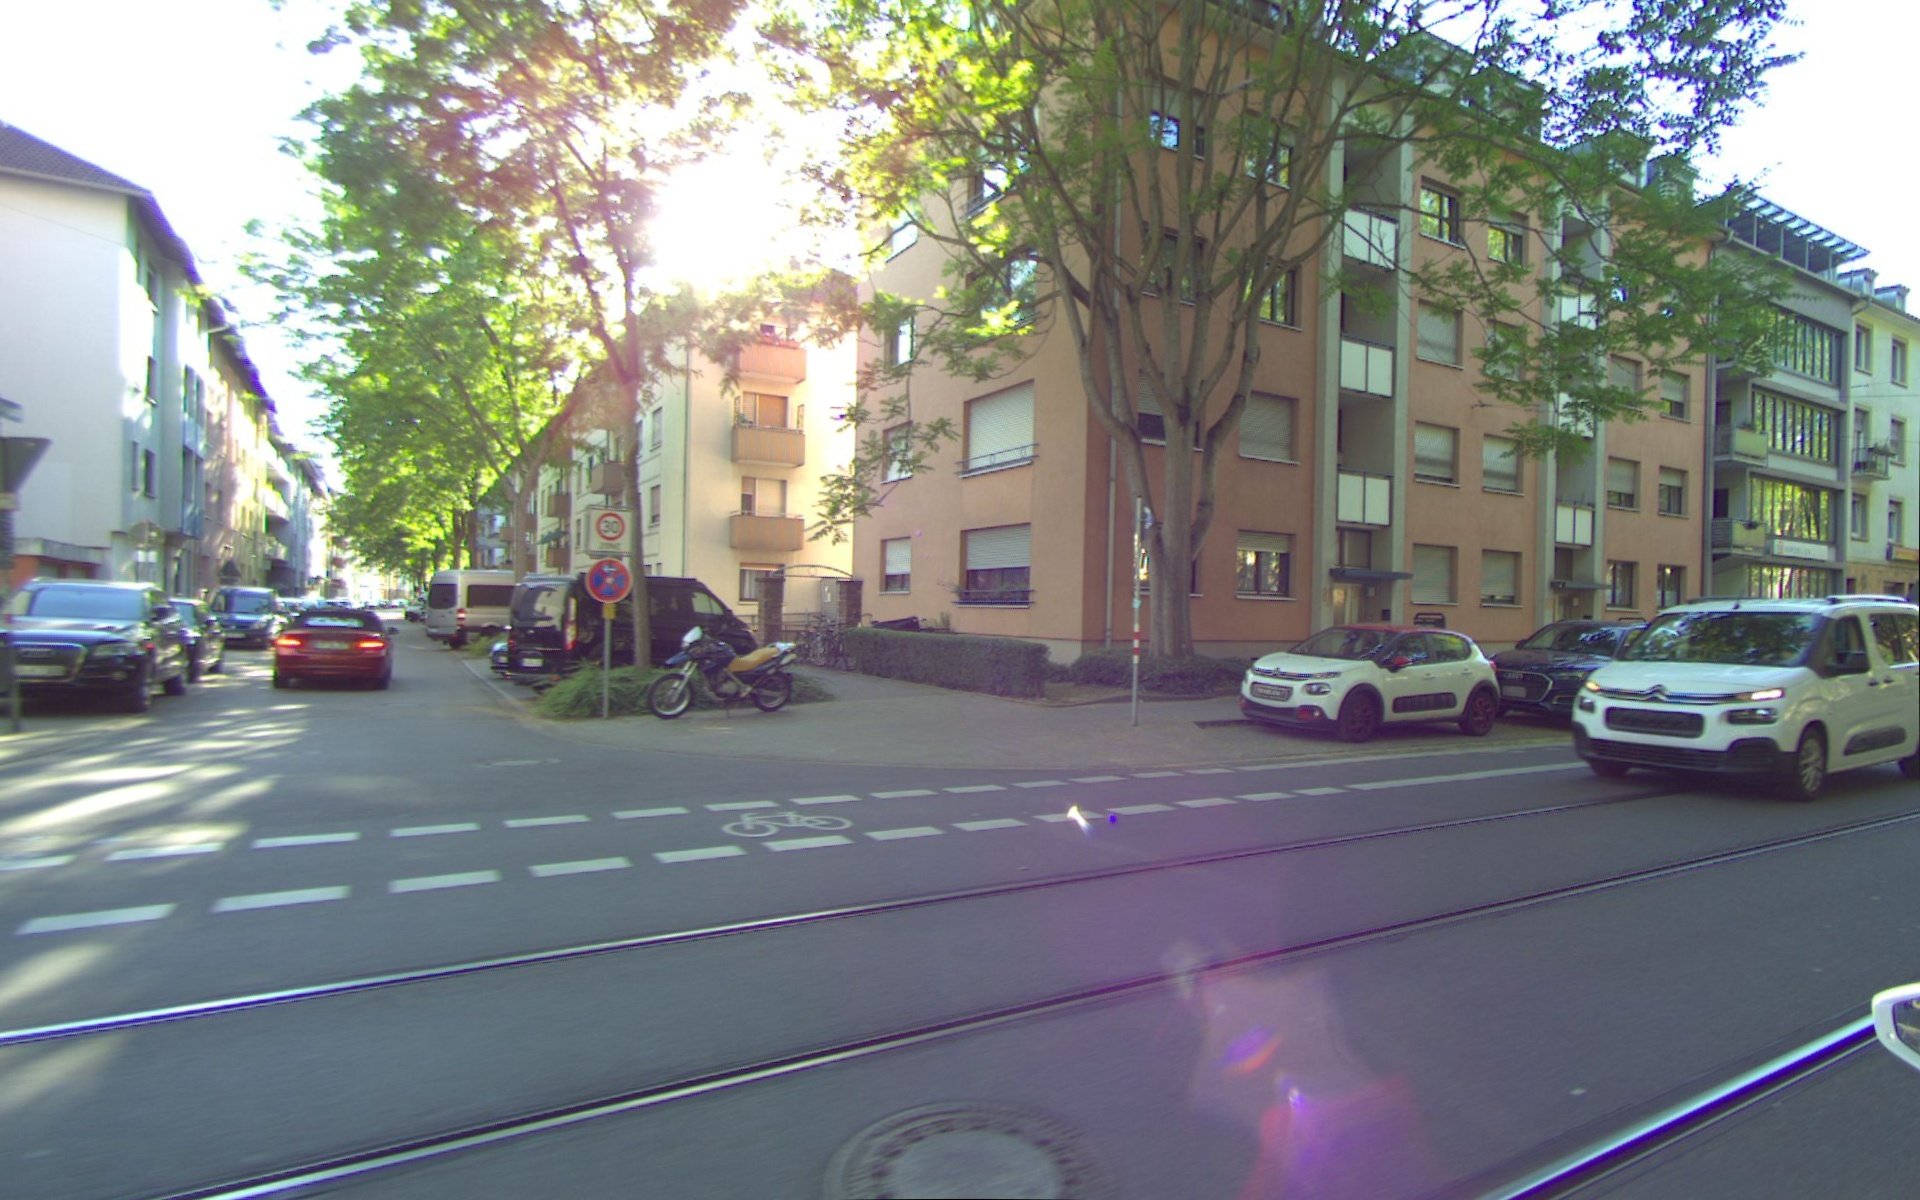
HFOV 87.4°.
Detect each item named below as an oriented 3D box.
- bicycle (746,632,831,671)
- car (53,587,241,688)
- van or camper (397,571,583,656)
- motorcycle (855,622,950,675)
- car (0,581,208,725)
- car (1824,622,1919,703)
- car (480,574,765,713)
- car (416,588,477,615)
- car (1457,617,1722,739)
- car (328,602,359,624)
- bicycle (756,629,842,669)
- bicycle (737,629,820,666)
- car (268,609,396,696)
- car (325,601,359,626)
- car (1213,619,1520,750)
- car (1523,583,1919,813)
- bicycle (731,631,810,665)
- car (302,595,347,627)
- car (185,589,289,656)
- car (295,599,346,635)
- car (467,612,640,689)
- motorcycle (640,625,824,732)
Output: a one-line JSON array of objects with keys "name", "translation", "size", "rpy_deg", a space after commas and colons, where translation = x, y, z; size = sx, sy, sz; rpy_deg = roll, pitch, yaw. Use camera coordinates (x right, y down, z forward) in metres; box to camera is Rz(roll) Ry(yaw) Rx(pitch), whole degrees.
[{"name": "bicycle", "translation": [-4.042, 1.212, 23.710], "size": [1.848, 0.883, 0.637], "rpy_deg": [1, 0, -31]}, {"name": "car", "translation": [-14.759, 0.642, 18.512], "size": [1.915, 1.628, 4.289], "rpy_deg": [3, -1, -29]}, {"name": "van or camper", "translation": [-16.026, 0.483, 34.641], "size": [2.217, 2.664, 5.540], "rpy_deg": [1, -1, 28]}, {"name": "motorcycle", "translation": [-1.275, 1.078, 22.477], "size": [2.043, 1.144, 0.691], "rpy_deg": [1, -1, -31]}, {"name": "car", "translation": [-11.747, 0.615, 13.539], "size": [1.915, 1.628, 4.512], "rpy_deg": [3, -1, -29]}, {"name": "car", "translation": [22.869, 1.443, 23.964], "size": [5.013, 1.709, 1.942], "rpy_deg": [1, 1, -32]}, {"name": "car", "translation": [-5.919, 0.718, 18.243], "size": [1.965, 2.151, 4.712], "rpy_deg": [2, 0, 31]}, {"name": "car", "translation": [-41.822, 0.138, 81.862], "size": [1.963, 2.040, 3.995], "rpy_deg": [1, -1, 27]}, {"name": "car", "translation": [10.309, 1.178, 16.361], "size": [4.536, 1.632, 1.771], "rpy_deg": [1, 2, -32]}, {"name": "car", "translation": [-49.552, 1.028, 80.799], "size": [1.893, 1.746, 4.289], "rpy_deg": [1, -1, -29]}, {"name": "bicycle", "translation": [-3.706, 1.123, 23.148], "size": [1.848, 0.883, 0.605], "rpy_deg": [1, 0, -31]}, {"name": "bicycle", "translation": [-4.380, 1.144, 24.293], "size": [1.848, 0.862, 0.637], "rpy_deg": [2, -1, -31]}, {"name": "car", "translation": [-11.717, 0.933, 18.966], "size": [1.777, 1.407, 4.203], "rpy_deg": [3, -1, -29]}, {"name": "car", "translation": [-45.168, 0.989, 73.436], "size": [1.893, 1.746, 4.289], "rpy_deg": [1, -1, -29]}, {"name": "car", "translation": [5.686, 1.095, 13.972], "size": [4.041, 1.498, 1.798], "rpy_deg": [2, 1, -30]}, {"name": "car", "translation": [8.010, 0.844, 10.155], "size": [4.839, 1.856, 1.882], "rpy_deg": [1, -1, -31]}, {"name": "bicycle", "translation": [-4.678, 1.182, 24.808], "size": [1.848, 0.784, 0.528], "rpy_deg": [2, -1, -31]}, {"name": "car", "translation": [-36.696, 0.627, 58.080], "size": [1.893, 1.746, 4.289], "rpy_deg": [1, -1, -29]}, {"name": "car", "translation": [-20.926, 0.621, 29.247], "size": [1.893, 1.746, 4.289], "rpy_deg": [3, -1, -29]}, {"name": "car", "translation": [-32.269, 0.858, 50.772], "size": [1.893, 1.746, 4.289], "rpy_deg": [1, -1, -29]}, {"name": "car", "translation": [-9.094, 1.086, 22.697], "size": [1.606, 1.564, 3.312], "rpy_deg": [1, -1, 31]}, {"name": "motorcycle", "translation": [-3.140, 1.034, 13.943], "size": [2.322, 1.298, 0.897], "rpy_deg": [-1, 1, -33]}]
